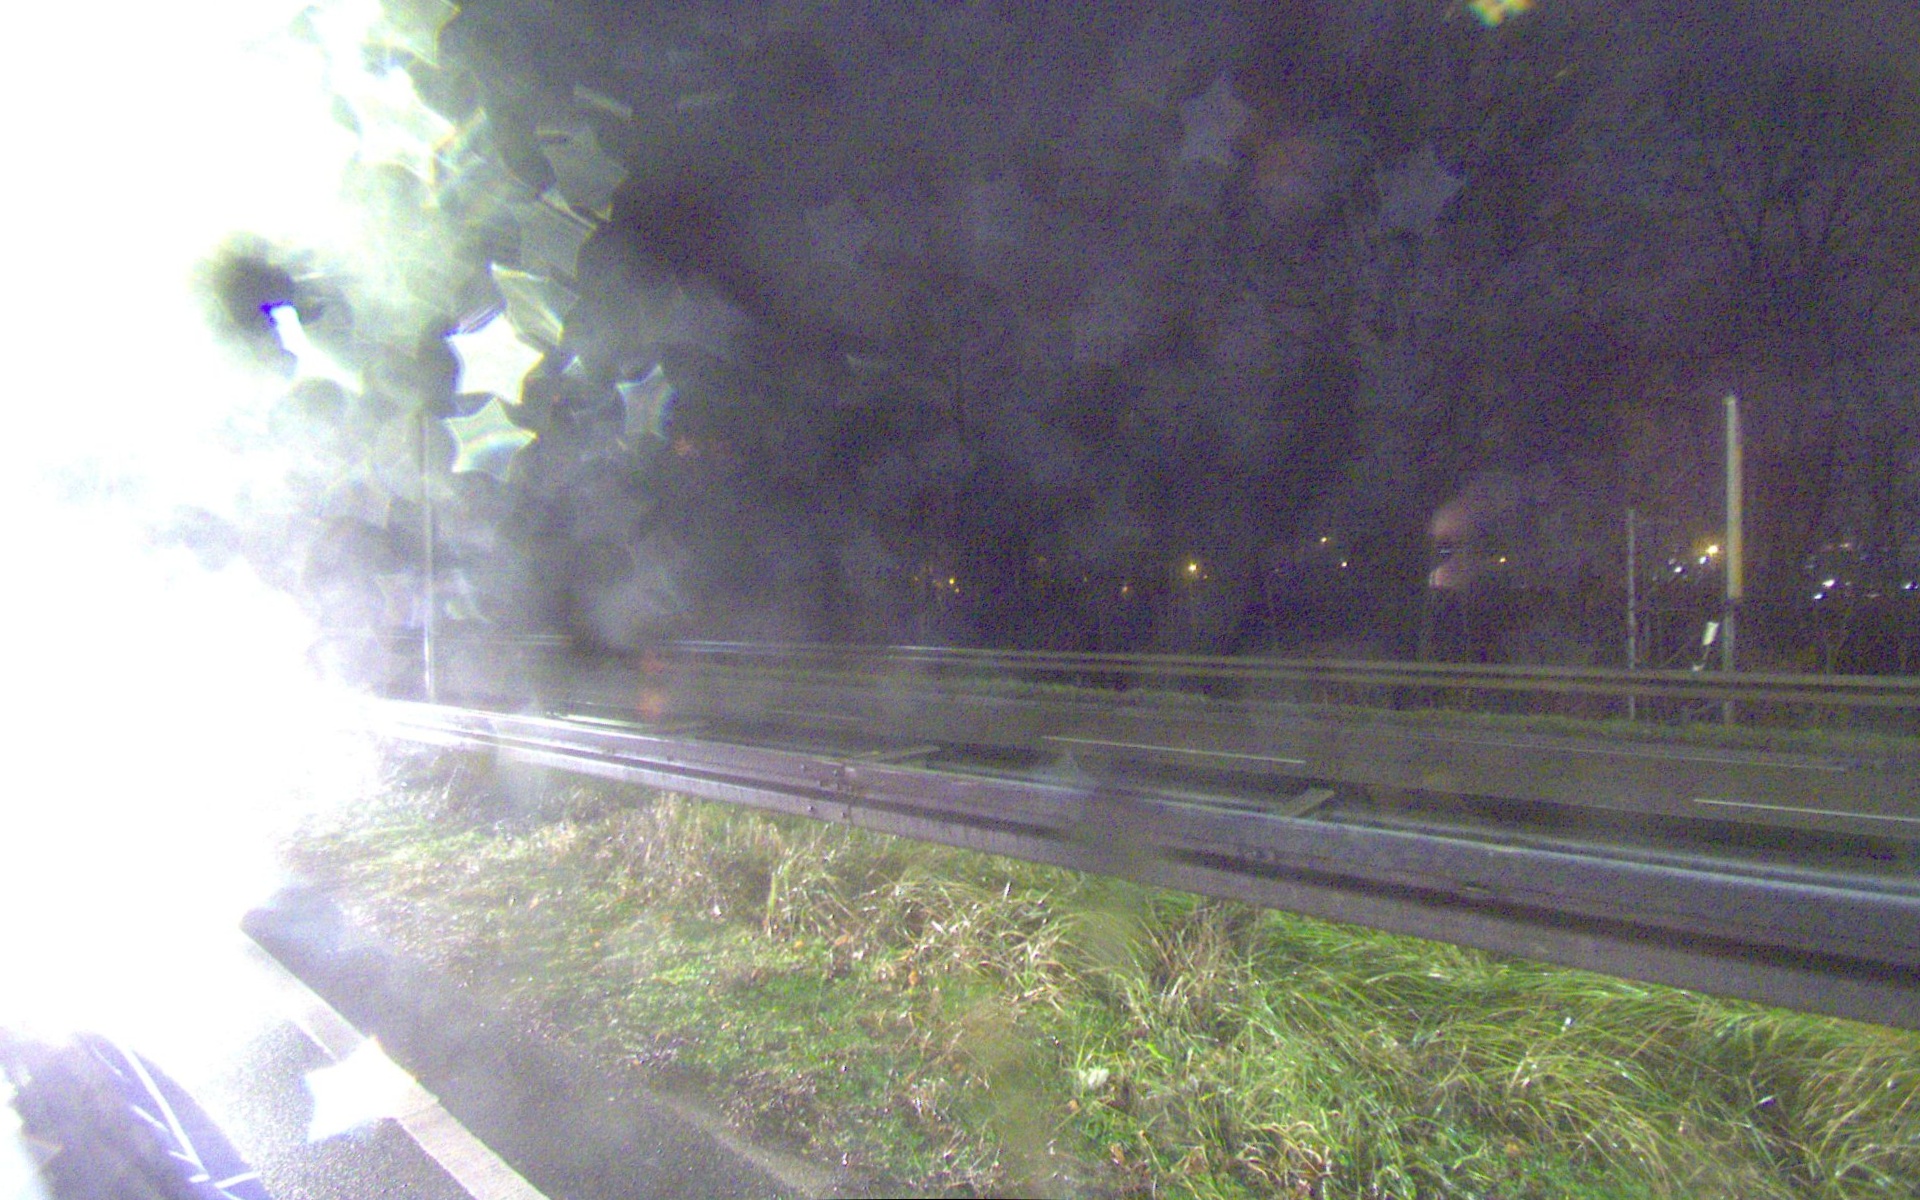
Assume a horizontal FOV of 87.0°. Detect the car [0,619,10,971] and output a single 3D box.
[{"bbox_3d":[-5.661,0.828,4.703,3.388,1.435,1.478,-1,0,41],"label":"car"}]
